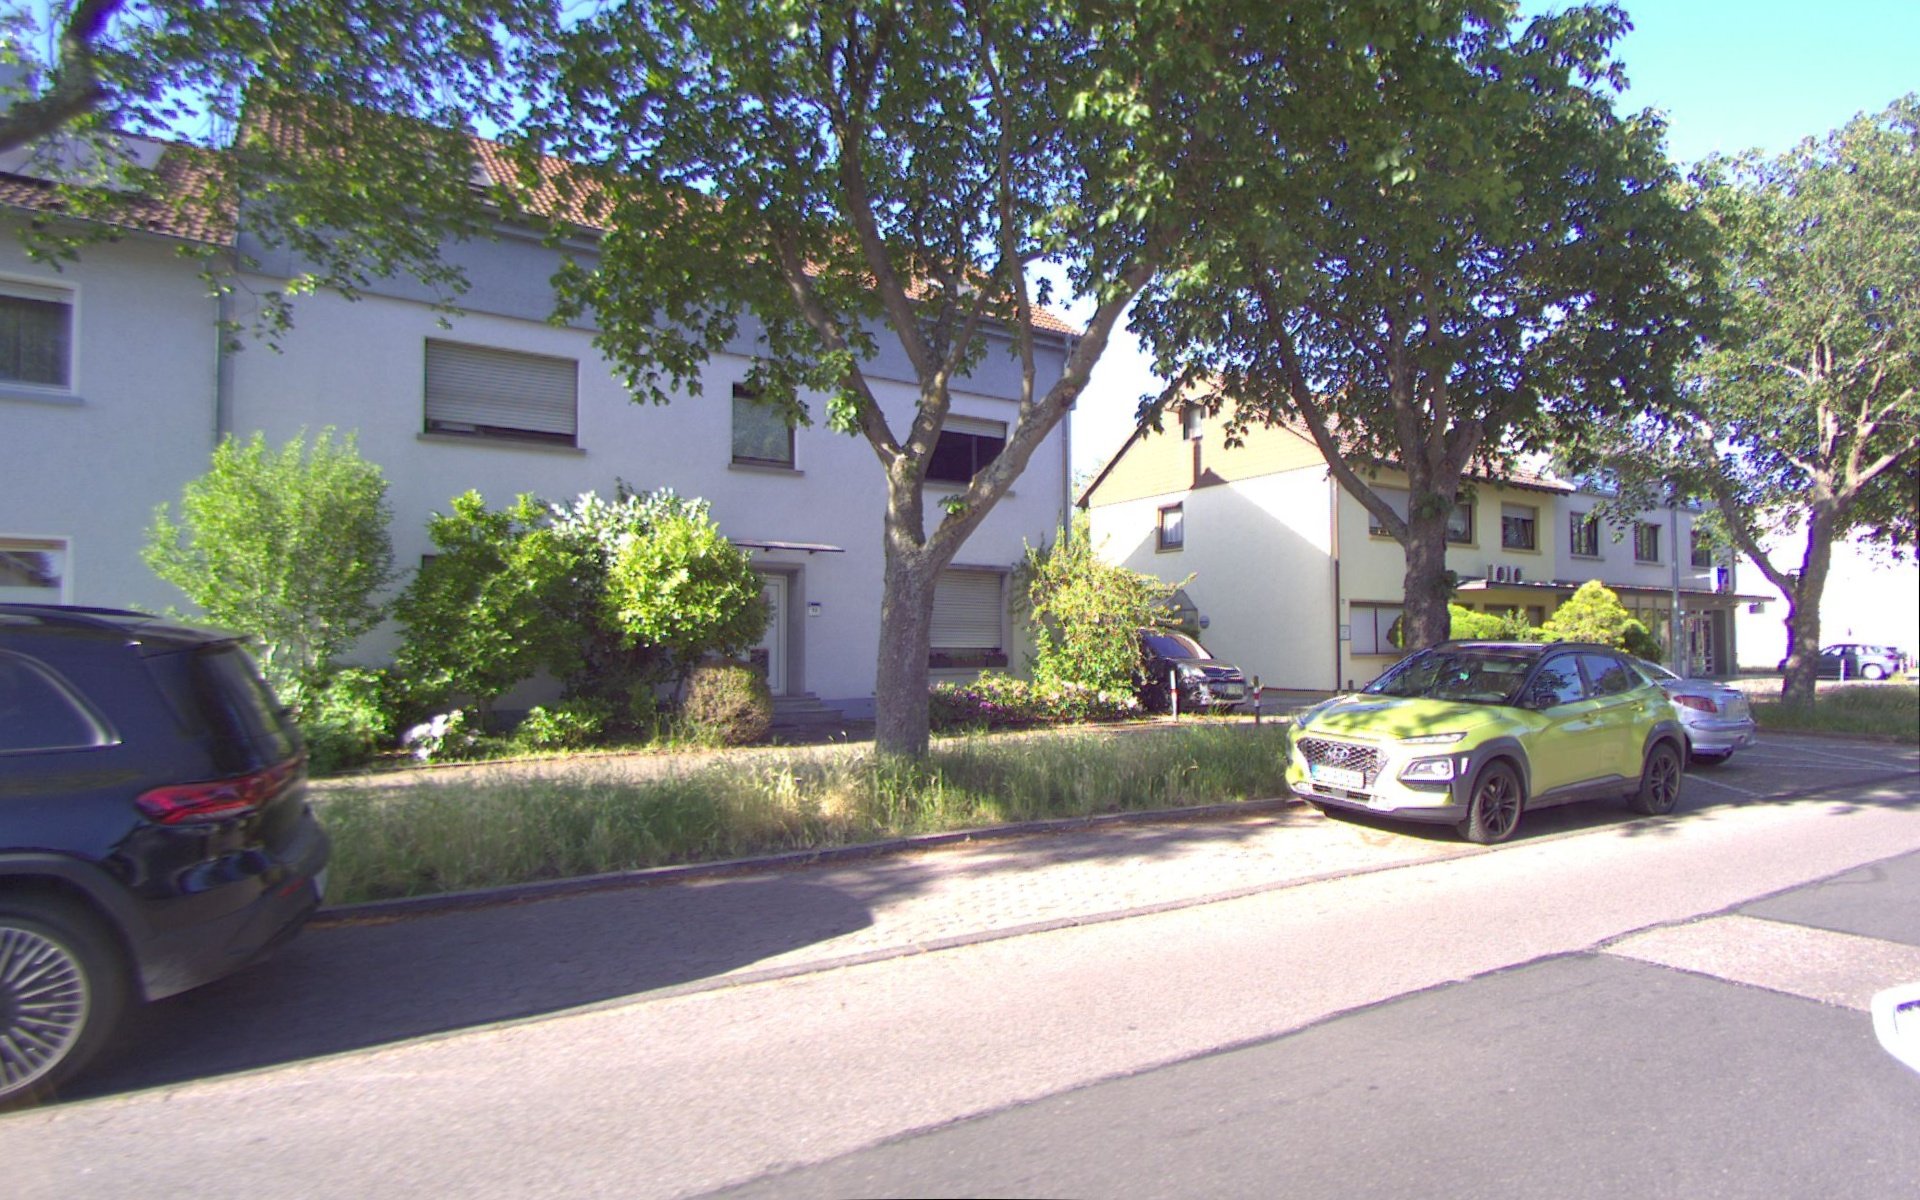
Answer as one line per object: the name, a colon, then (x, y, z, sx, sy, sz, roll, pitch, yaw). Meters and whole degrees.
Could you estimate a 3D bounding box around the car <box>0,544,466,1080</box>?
car: (-4.523, 0.672, 3.607, 4.817, 1.749, 1.945, 2, -1, -30)

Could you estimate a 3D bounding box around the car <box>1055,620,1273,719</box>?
car: (4.055, 1.308, 20.603, 1.980, 1.737, 4.206, 0, 0, -35)

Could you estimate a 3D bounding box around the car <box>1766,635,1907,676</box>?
car: (39.885, 2.489, 45.805, 1.979, 1.639, 4.527, 0, 0, -34)

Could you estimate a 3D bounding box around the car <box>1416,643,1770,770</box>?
car: (8.326, 1.307, 13.541, 1.593, 1.319, 3.746, 0, 0, -31)

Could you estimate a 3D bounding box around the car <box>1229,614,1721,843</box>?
car: (4.742, 1.016, 9.133, 4.332, 1.630, 1.930, 2, -2, -30)
